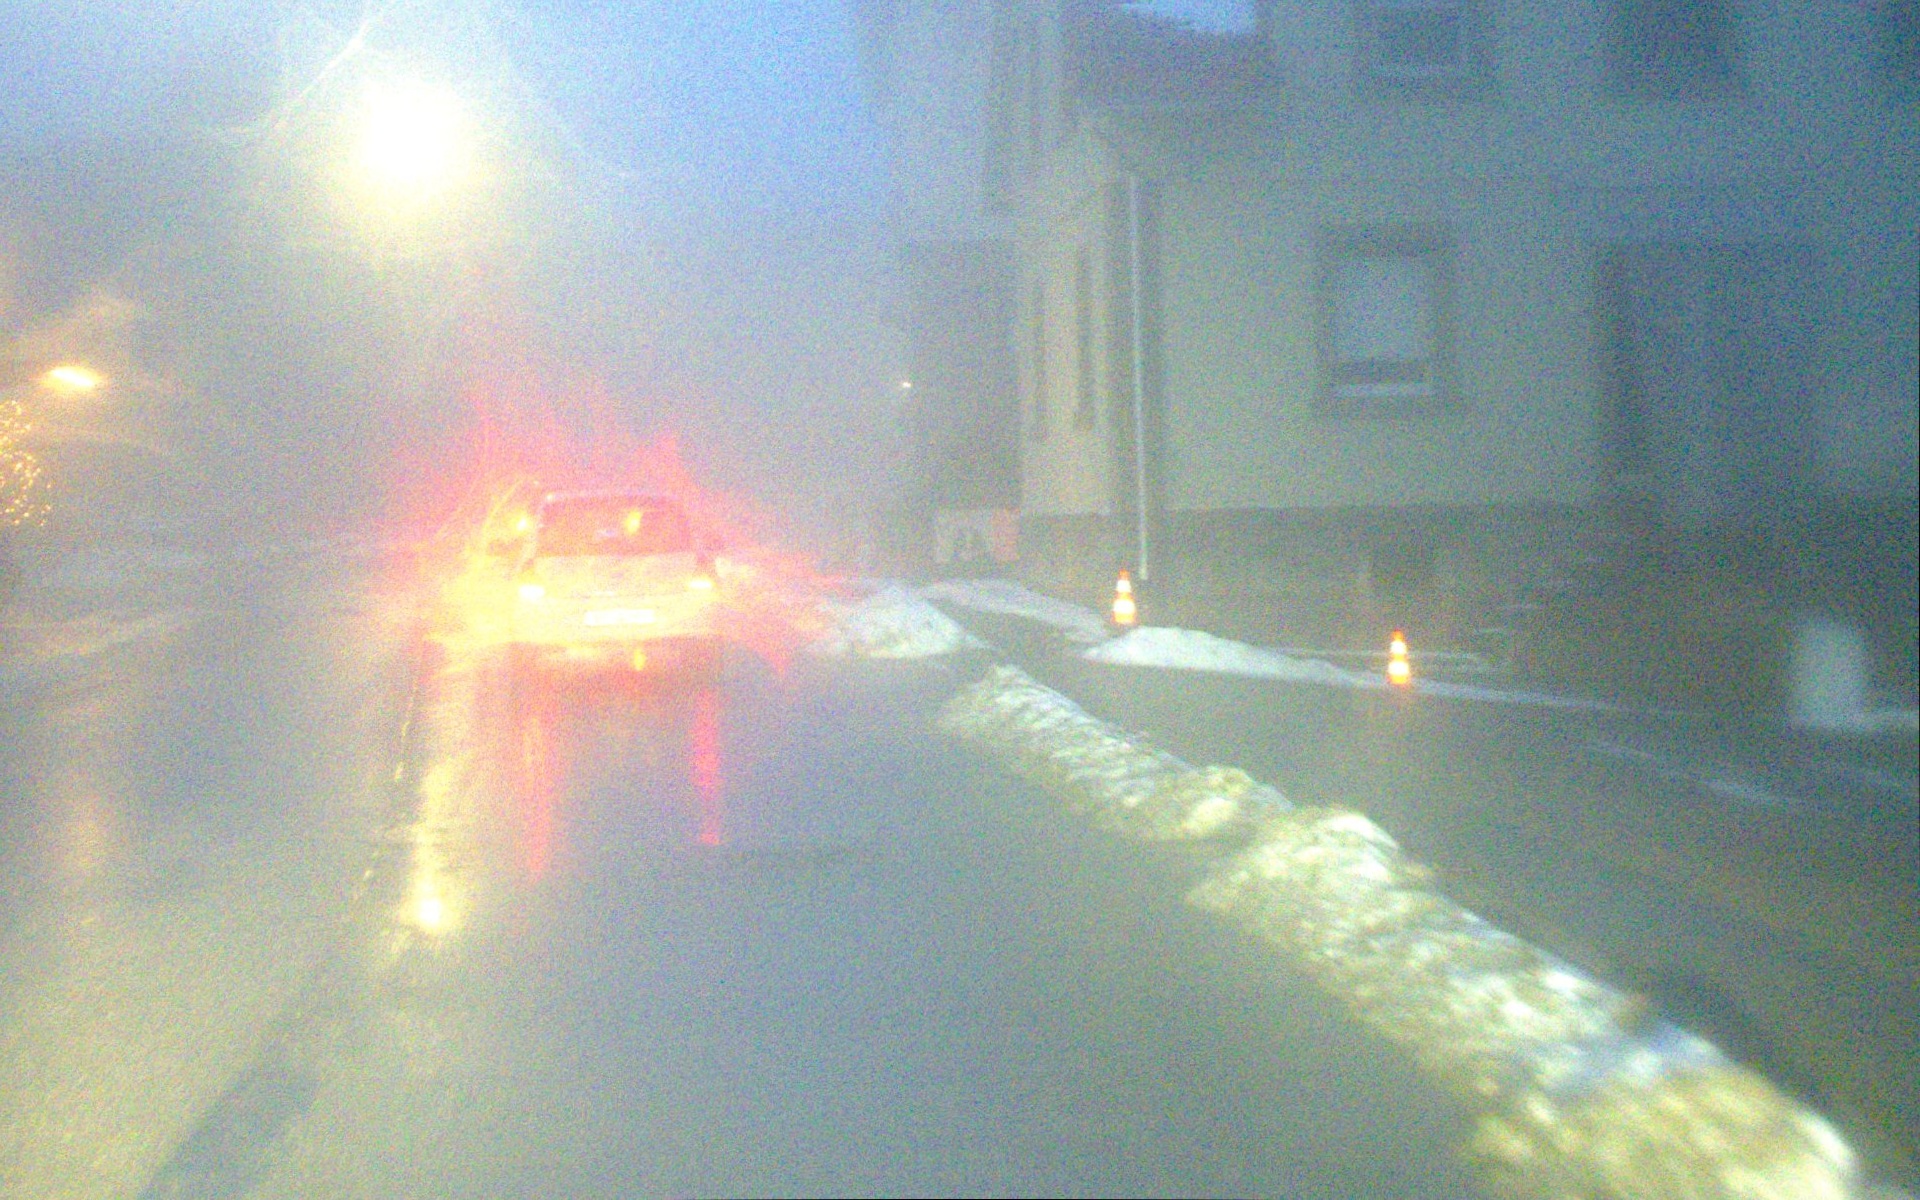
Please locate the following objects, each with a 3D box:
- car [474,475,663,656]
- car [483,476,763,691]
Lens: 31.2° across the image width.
[{"bbox_3d":[-4.663,-0.375,41.467,1.993,2.007,4.000,2,-1,-4],"label":"car"},{"bbox_3d":[-2.683,-0.099,27.245,1.993,1.503,4.001,2,-1,-6],"label":"car"}]
